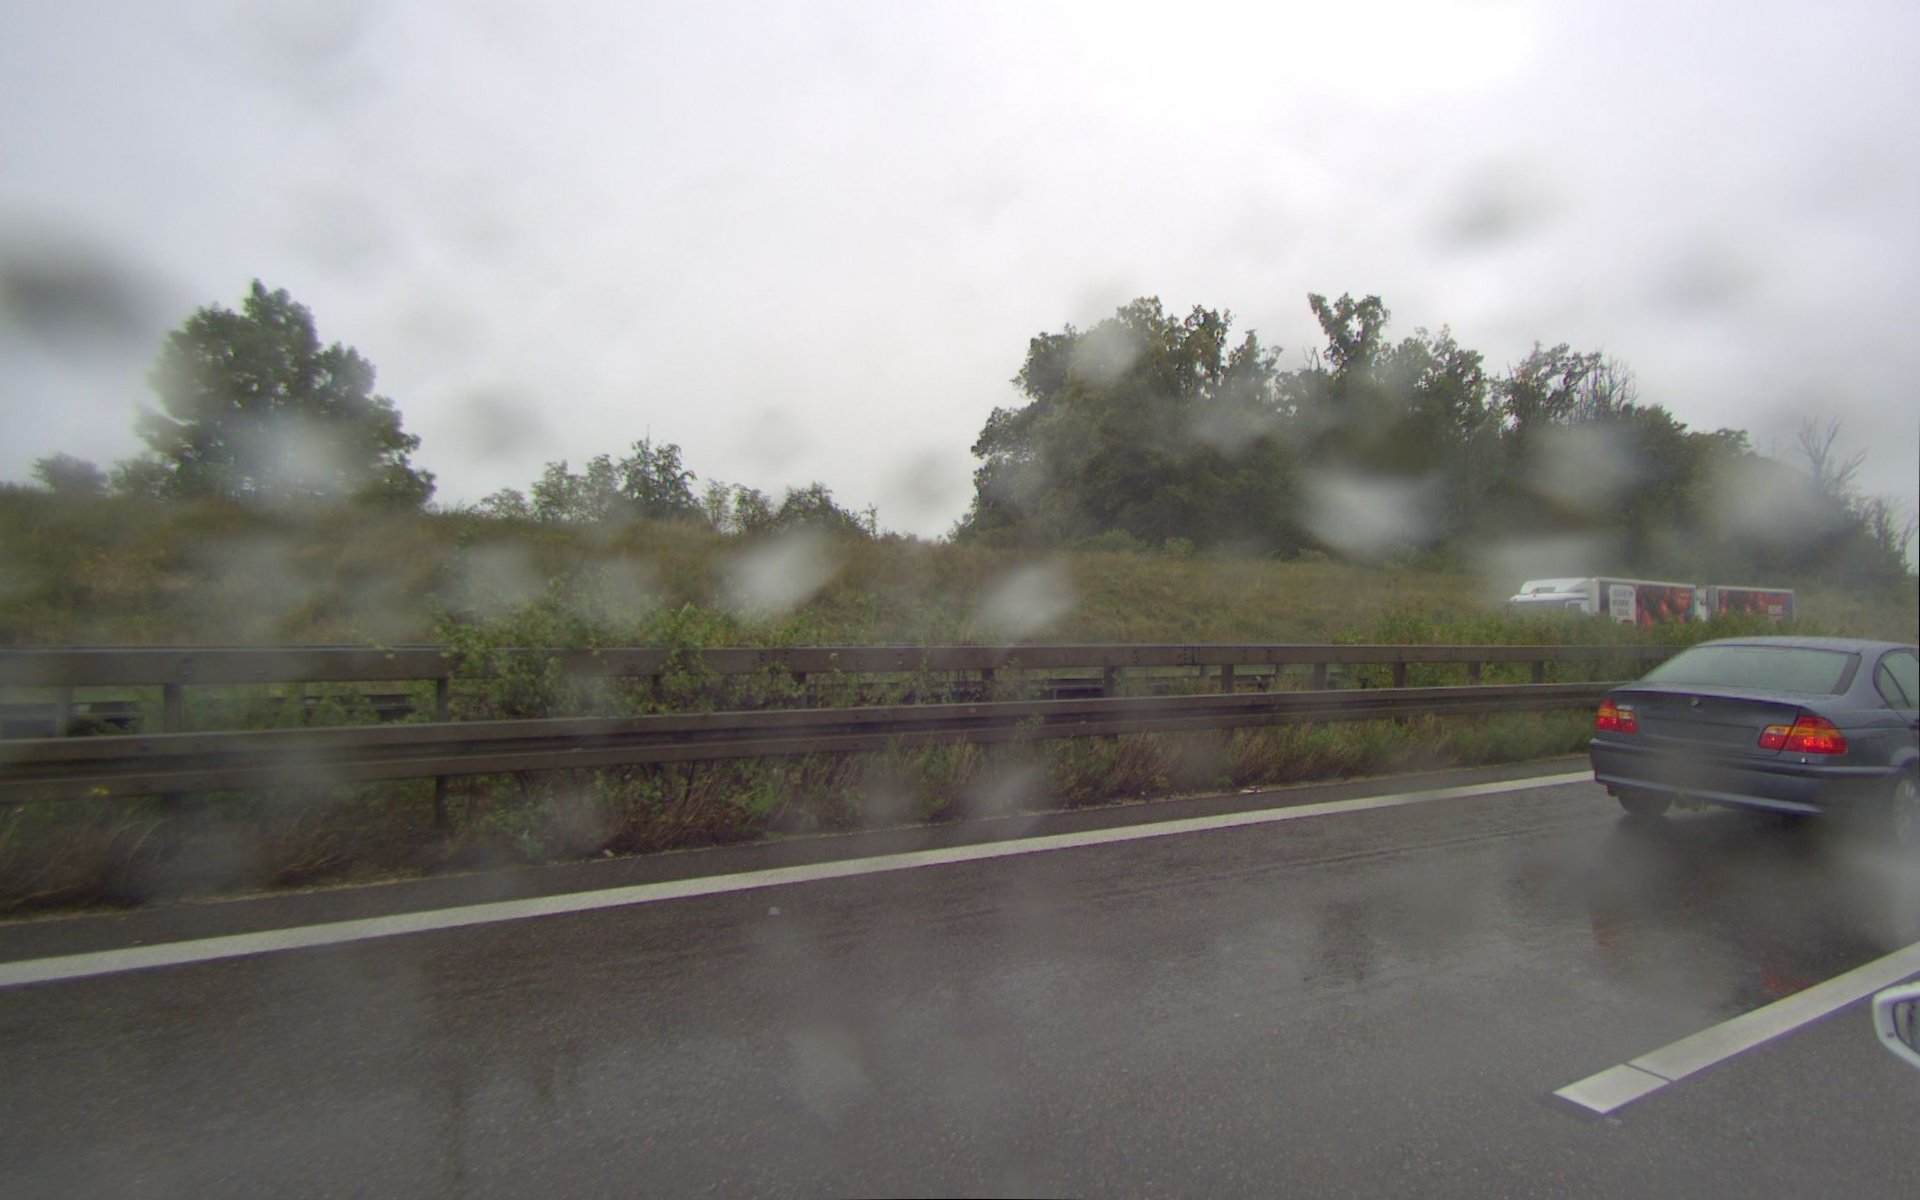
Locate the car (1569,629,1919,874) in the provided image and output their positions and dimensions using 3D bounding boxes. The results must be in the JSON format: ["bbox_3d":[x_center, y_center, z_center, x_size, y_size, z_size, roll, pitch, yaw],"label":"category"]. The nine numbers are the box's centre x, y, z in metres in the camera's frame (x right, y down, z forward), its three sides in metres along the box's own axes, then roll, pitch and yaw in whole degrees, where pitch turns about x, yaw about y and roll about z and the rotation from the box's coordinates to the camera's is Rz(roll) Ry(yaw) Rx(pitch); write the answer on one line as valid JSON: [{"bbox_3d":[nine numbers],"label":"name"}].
[{"bbox_3d":[6.765,0.975,7.776,4.179,1.418,1.710,2,-1,-30],"label":"car"}]

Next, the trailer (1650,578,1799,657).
[{"bbox_3d":[32.813,0.771,42.977,8.770,3.123,1.983,1,0,-31],"label":"trailer"}]

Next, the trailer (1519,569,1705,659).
[{"bbox_3d":[24.986,0.587,38.272,9.445,3.123,1.983,1,0,-31],"label":"trailer"}]
